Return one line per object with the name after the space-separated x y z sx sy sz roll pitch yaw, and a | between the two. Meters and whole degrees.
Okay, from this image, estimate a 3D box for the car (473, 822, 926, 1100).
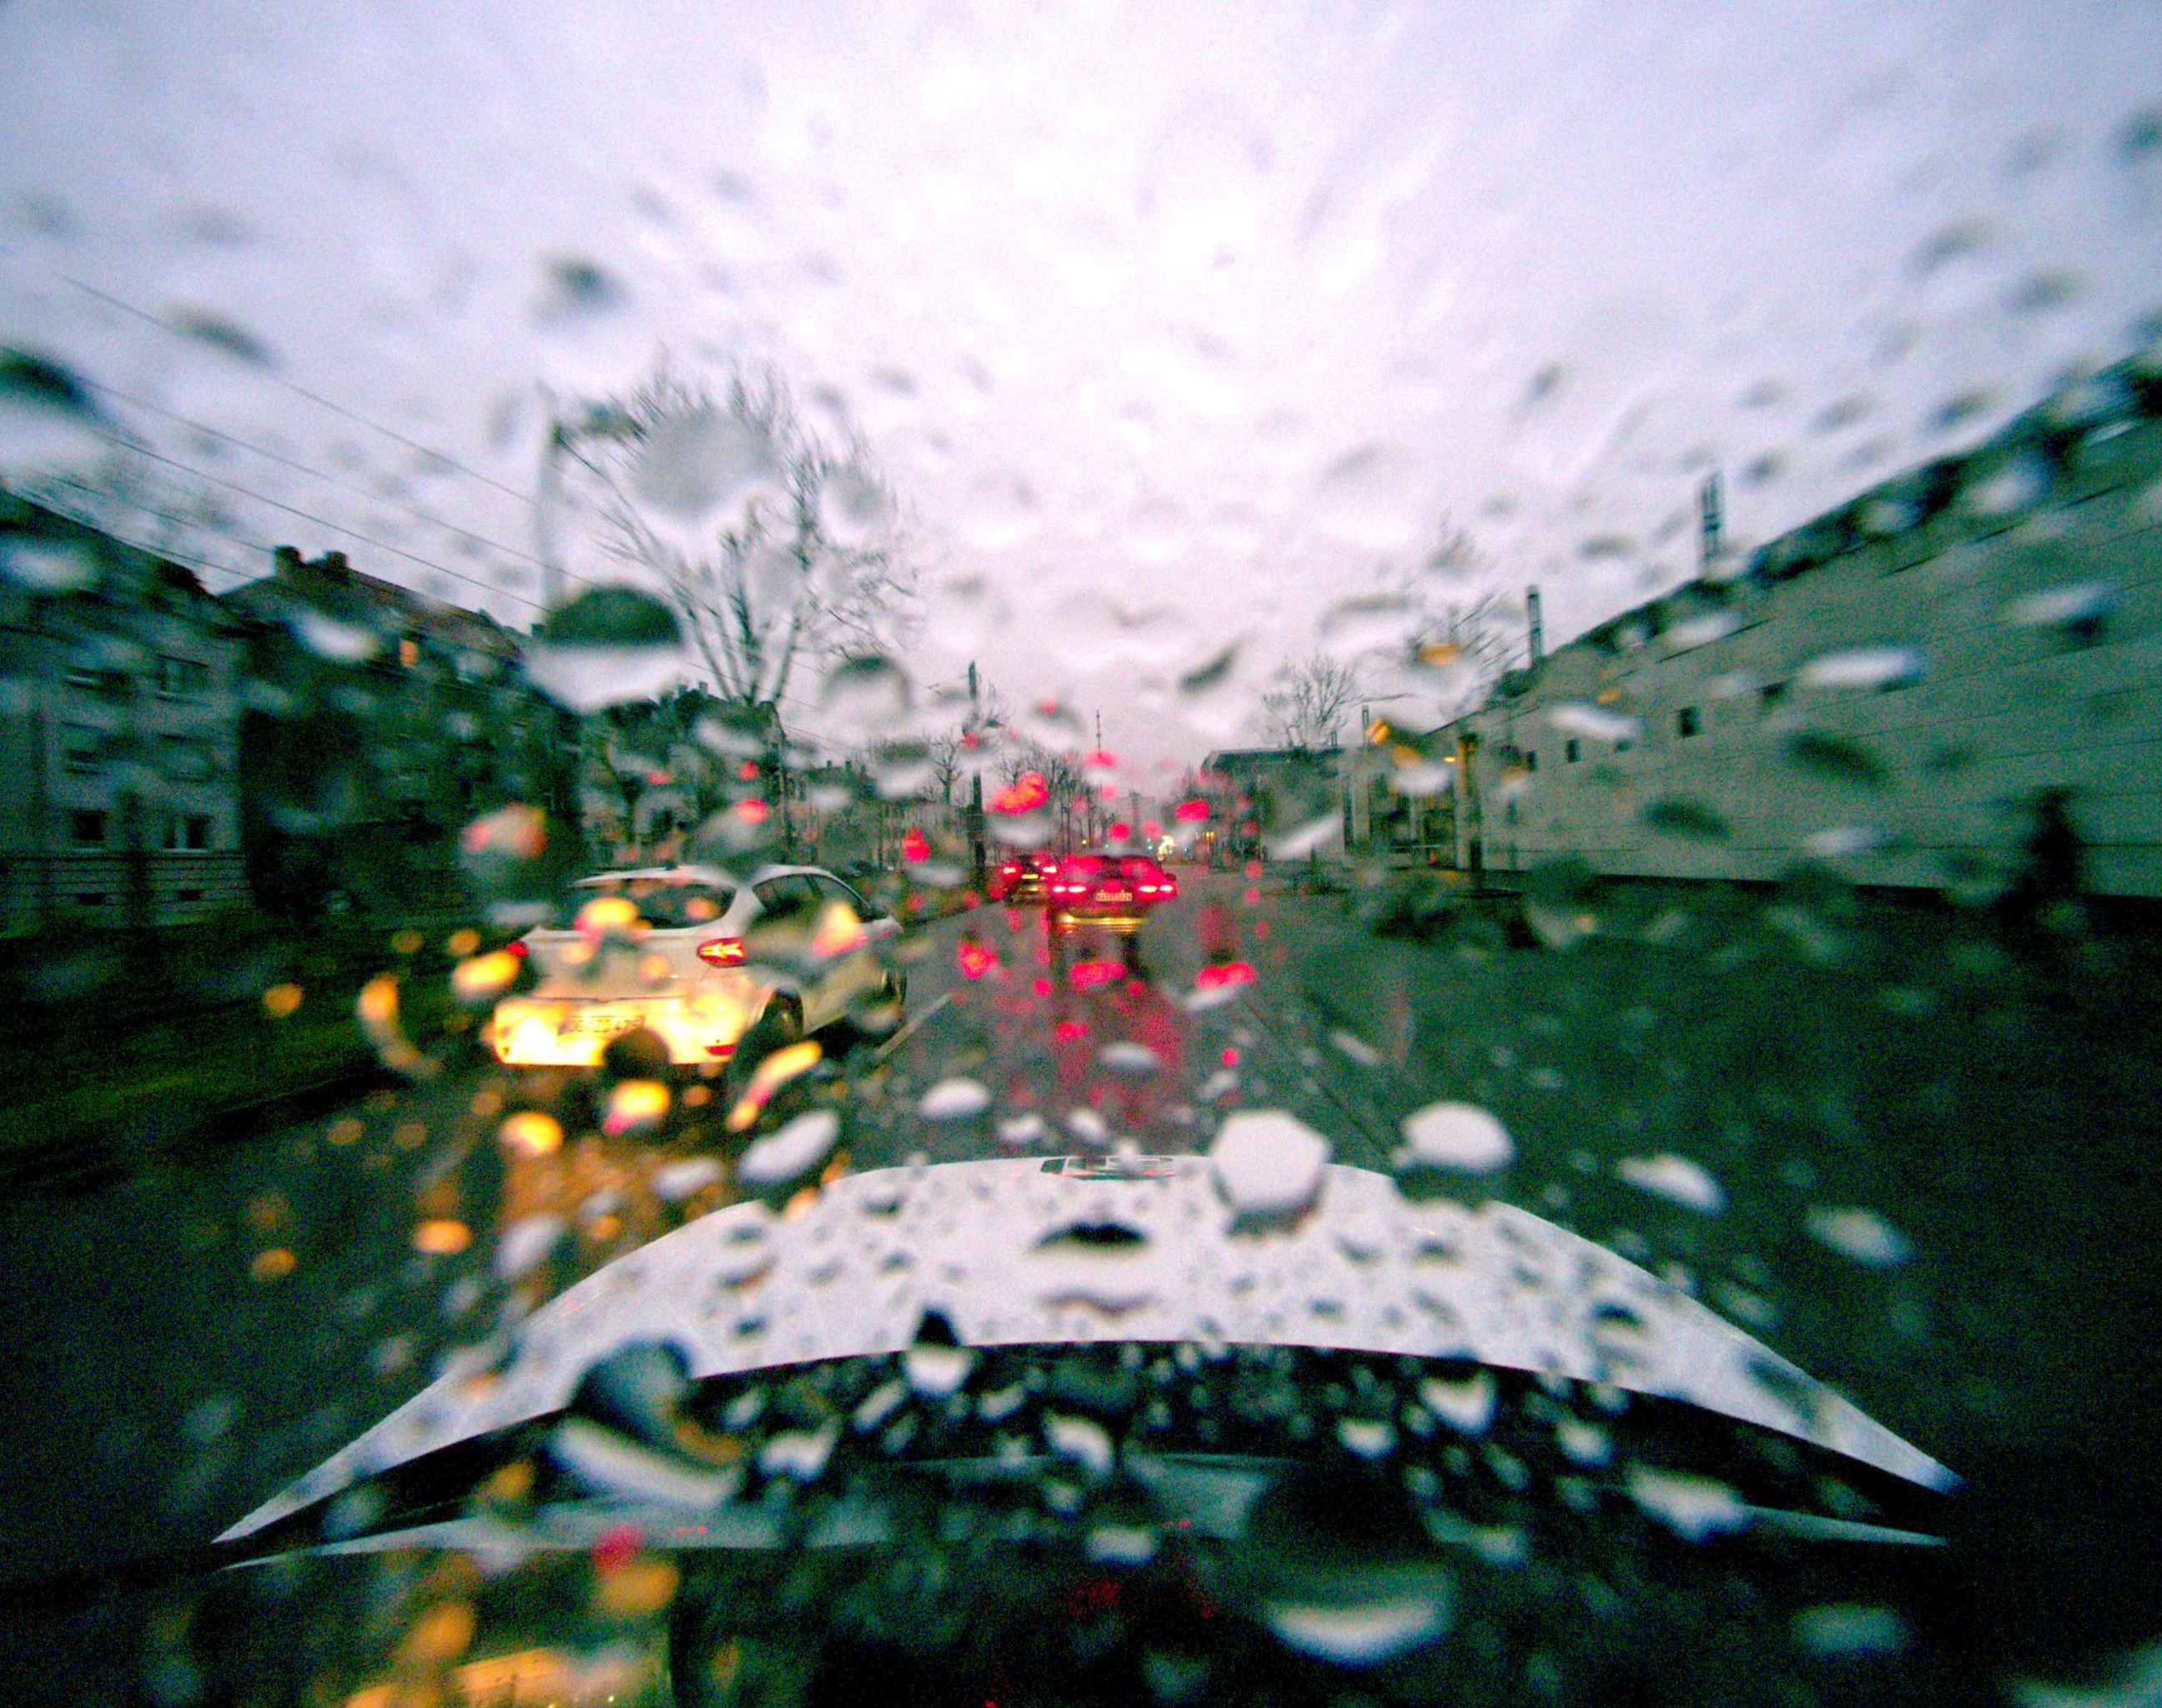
-2.636 0.634 6.806 1.665 1.600 4.057 -1 0 3 | car

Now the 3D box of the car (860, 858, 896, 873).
-20.783 1.203 83.345 3.510 1.354 1.793 -3 0 38 | car

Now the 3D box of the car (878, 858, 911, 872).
-20.616 1.254 90.000 3.510 1.354 1.793 -3 0 38 | car

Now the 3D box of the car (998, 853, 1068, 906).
-1.521 0.798 27.110 1.664 1.600 4.060 -1 0 5 | car

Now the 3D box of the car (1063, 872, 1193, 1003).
0.809 1.142 12.659 1.664 1.600 4.060 -1 0 5 | car

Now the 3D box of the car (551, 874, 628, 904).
-26.628 1.859 44.252 1.768 1.354 3.561 -3 0 4 | car

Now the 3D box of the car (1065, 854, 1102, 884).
0.184 0.821 46.775 1.664 1.600 4.060 -1 0 5 | car

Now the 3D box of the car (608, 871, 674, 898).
-26.263 1.794 48.730 1.768 1.354 3.561 -3 0 4 | car

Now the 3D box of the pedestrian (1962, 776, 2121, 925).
11.034 -0.040 9.385 0.934 1.618 0.695 -3 0 2 | pedestrian

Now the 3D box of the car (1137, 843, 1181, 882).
3.872 0.404 40.378 1.984 1.744 4.006 -2 0 5 | car

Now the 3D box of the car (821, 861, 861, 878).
-22.288 1.448 75.628 3.510 1.354 1.793 -3 0 38 | car

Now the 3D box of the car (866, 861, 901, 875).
-20.900 1.491 86.256 3.510 1.354 1.793 -3 0 38 | car
